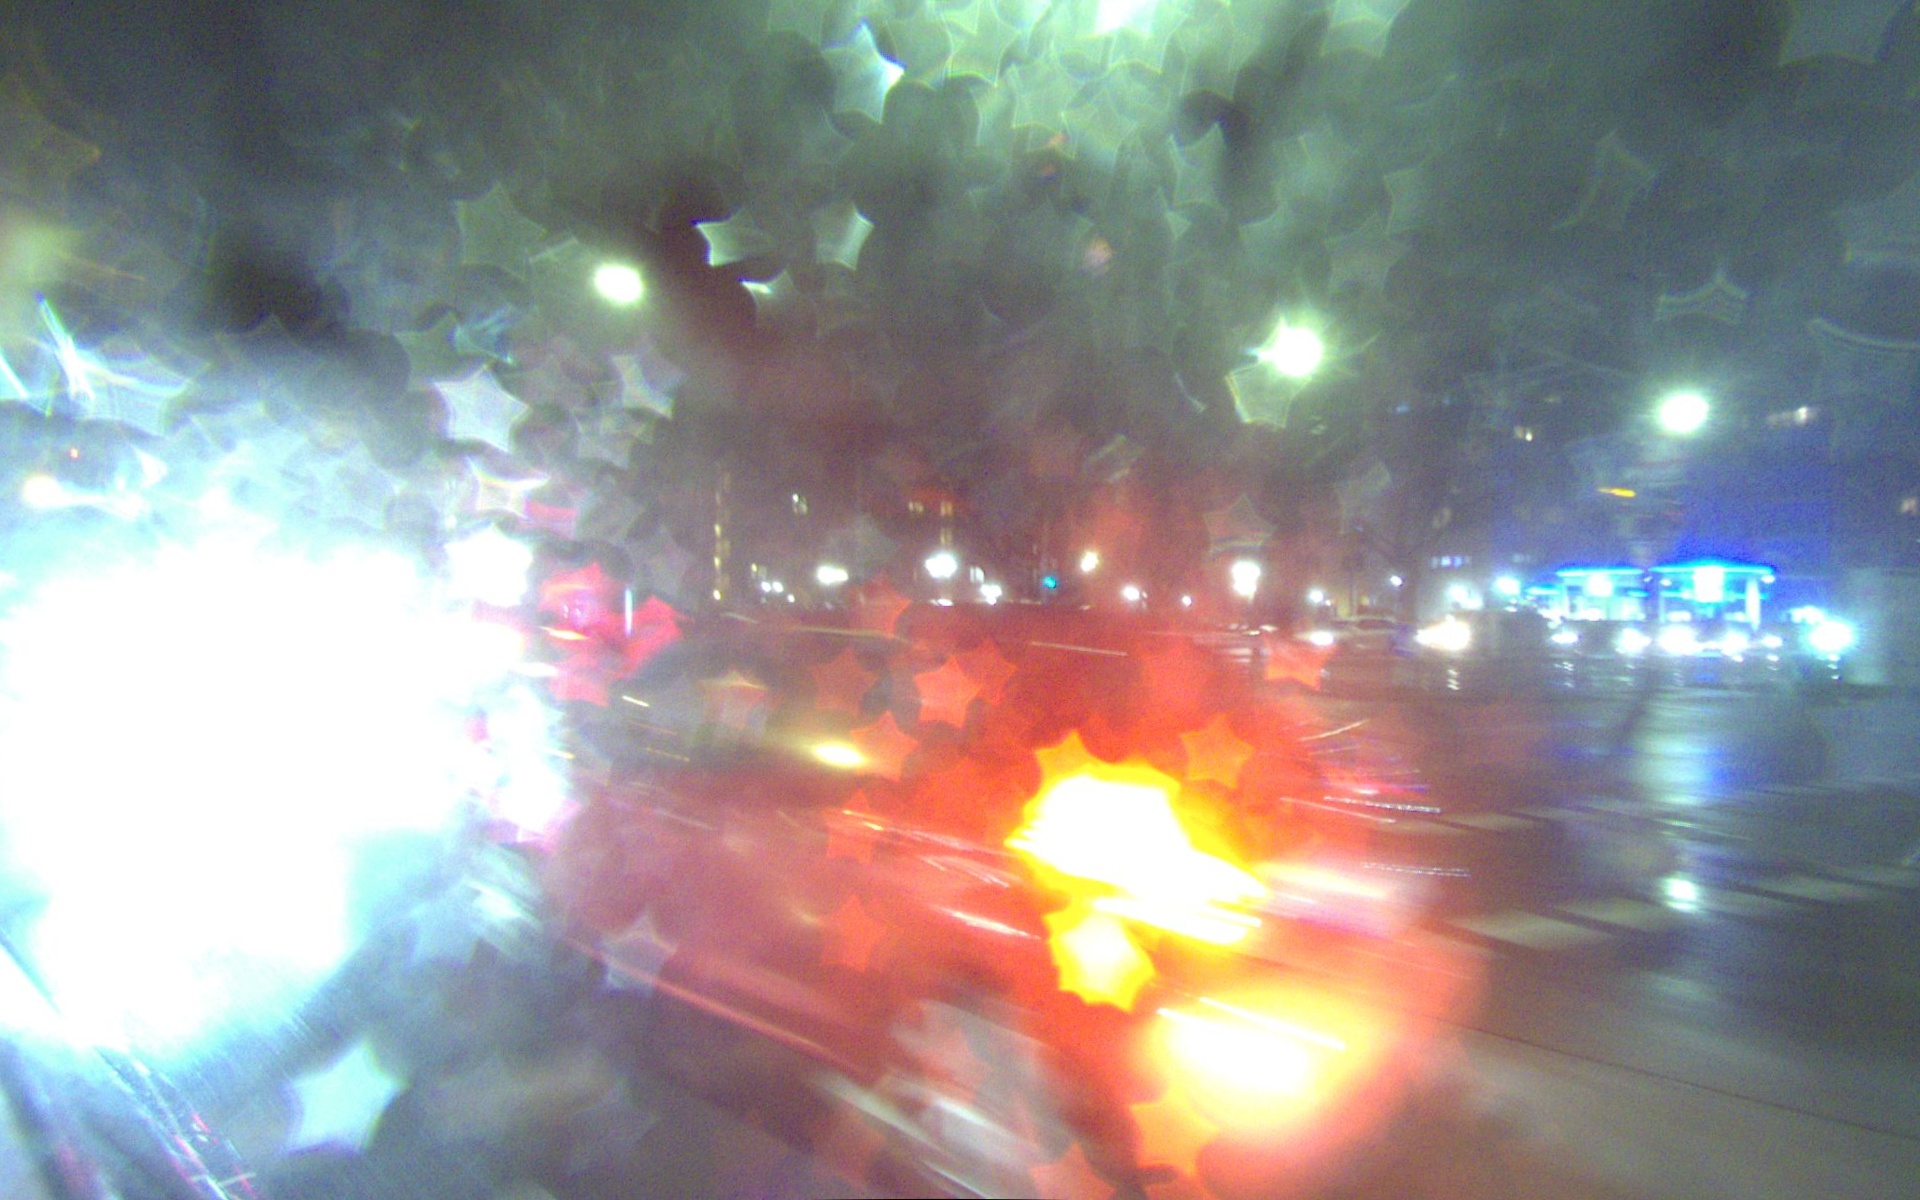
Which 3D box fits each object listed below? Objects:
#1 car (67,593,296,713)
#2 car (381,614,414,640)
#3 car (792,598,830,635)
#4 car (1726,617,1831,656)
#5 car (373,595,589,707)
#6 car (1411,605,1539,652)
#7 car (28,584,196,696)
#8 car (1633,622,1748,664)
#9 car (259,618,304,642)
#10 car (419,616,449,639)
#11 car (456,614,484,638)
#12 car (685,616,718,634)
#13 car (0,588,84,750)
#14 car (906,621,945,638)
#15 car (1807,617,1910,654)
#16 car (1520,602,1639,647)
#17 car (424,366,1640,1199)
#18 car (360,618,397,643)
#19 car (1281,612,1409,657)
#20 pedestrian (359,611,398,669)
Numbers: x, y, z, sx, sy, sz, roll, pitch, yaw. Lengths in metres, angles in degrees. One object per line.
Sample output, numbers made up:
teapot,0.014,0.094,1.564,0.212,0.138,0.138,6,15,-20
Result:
car,-11.893,0.727,15.331,4.723,1.554,1.799,-1,-1,40
car,-41.578,1.973,74.889,1.838,1.808,4.509,0,-1,-26
car,-11.298,1.234,76.414,1.689,2.752,4.369,0,-1,-25
car,37.738,1.653,46.637,4.657,1.756,1.904,1,-2,-26
car,-7.464,0.718,15.600,4.062,1.498,1.743,-1,-1,45
car,19.854,1.086,39.004,4.657,1.756,1.904,1,-2,-26
car,-17.090,0.806,20.294,5.200,1.968,2.011,-3,-3,44
car,31.861,1.845,44.137,4.657,1.756,1.904,0,-2,-23
car,-41.785,1.841,62.400,1.689,1.442,3.931,0,-1,-25
car,-39.692,2.055,76.399,1.838,1.625,4.509,0,-1,-26
car,-37.231,1.959,76.907,1.838,1.773,4.509,0,-1,-26
car,-21.536,2.085,84.171,1.838,1.454,4.509,0,-1,-26
car,-11.082,0.677,10.293,3.962,1.554,1.699,-1,-1,22
car,-3.131,2.608,90.832,1.838,1.454,4.509,0,-1,-26
car,44.058,1.716,49.636,4.657,1.756,1.904,0,-2,-23
car,25.401,0.992,41.475,4.657,1.756,1.904,1,-2,-26
car,-0.187,0.466,3.479,4.006,1.574,1.651,-1,-1,42
car,-36.947,1.901,64.353,1.689,1.532,3.931,0,-1,-25
car,13.937,1.230,36.648,4.258,1.581,1.904,1,-2,-26
pedestrian,-18.044,1.225,31.421,0.758,1.749,0.972,0,-1,-11
